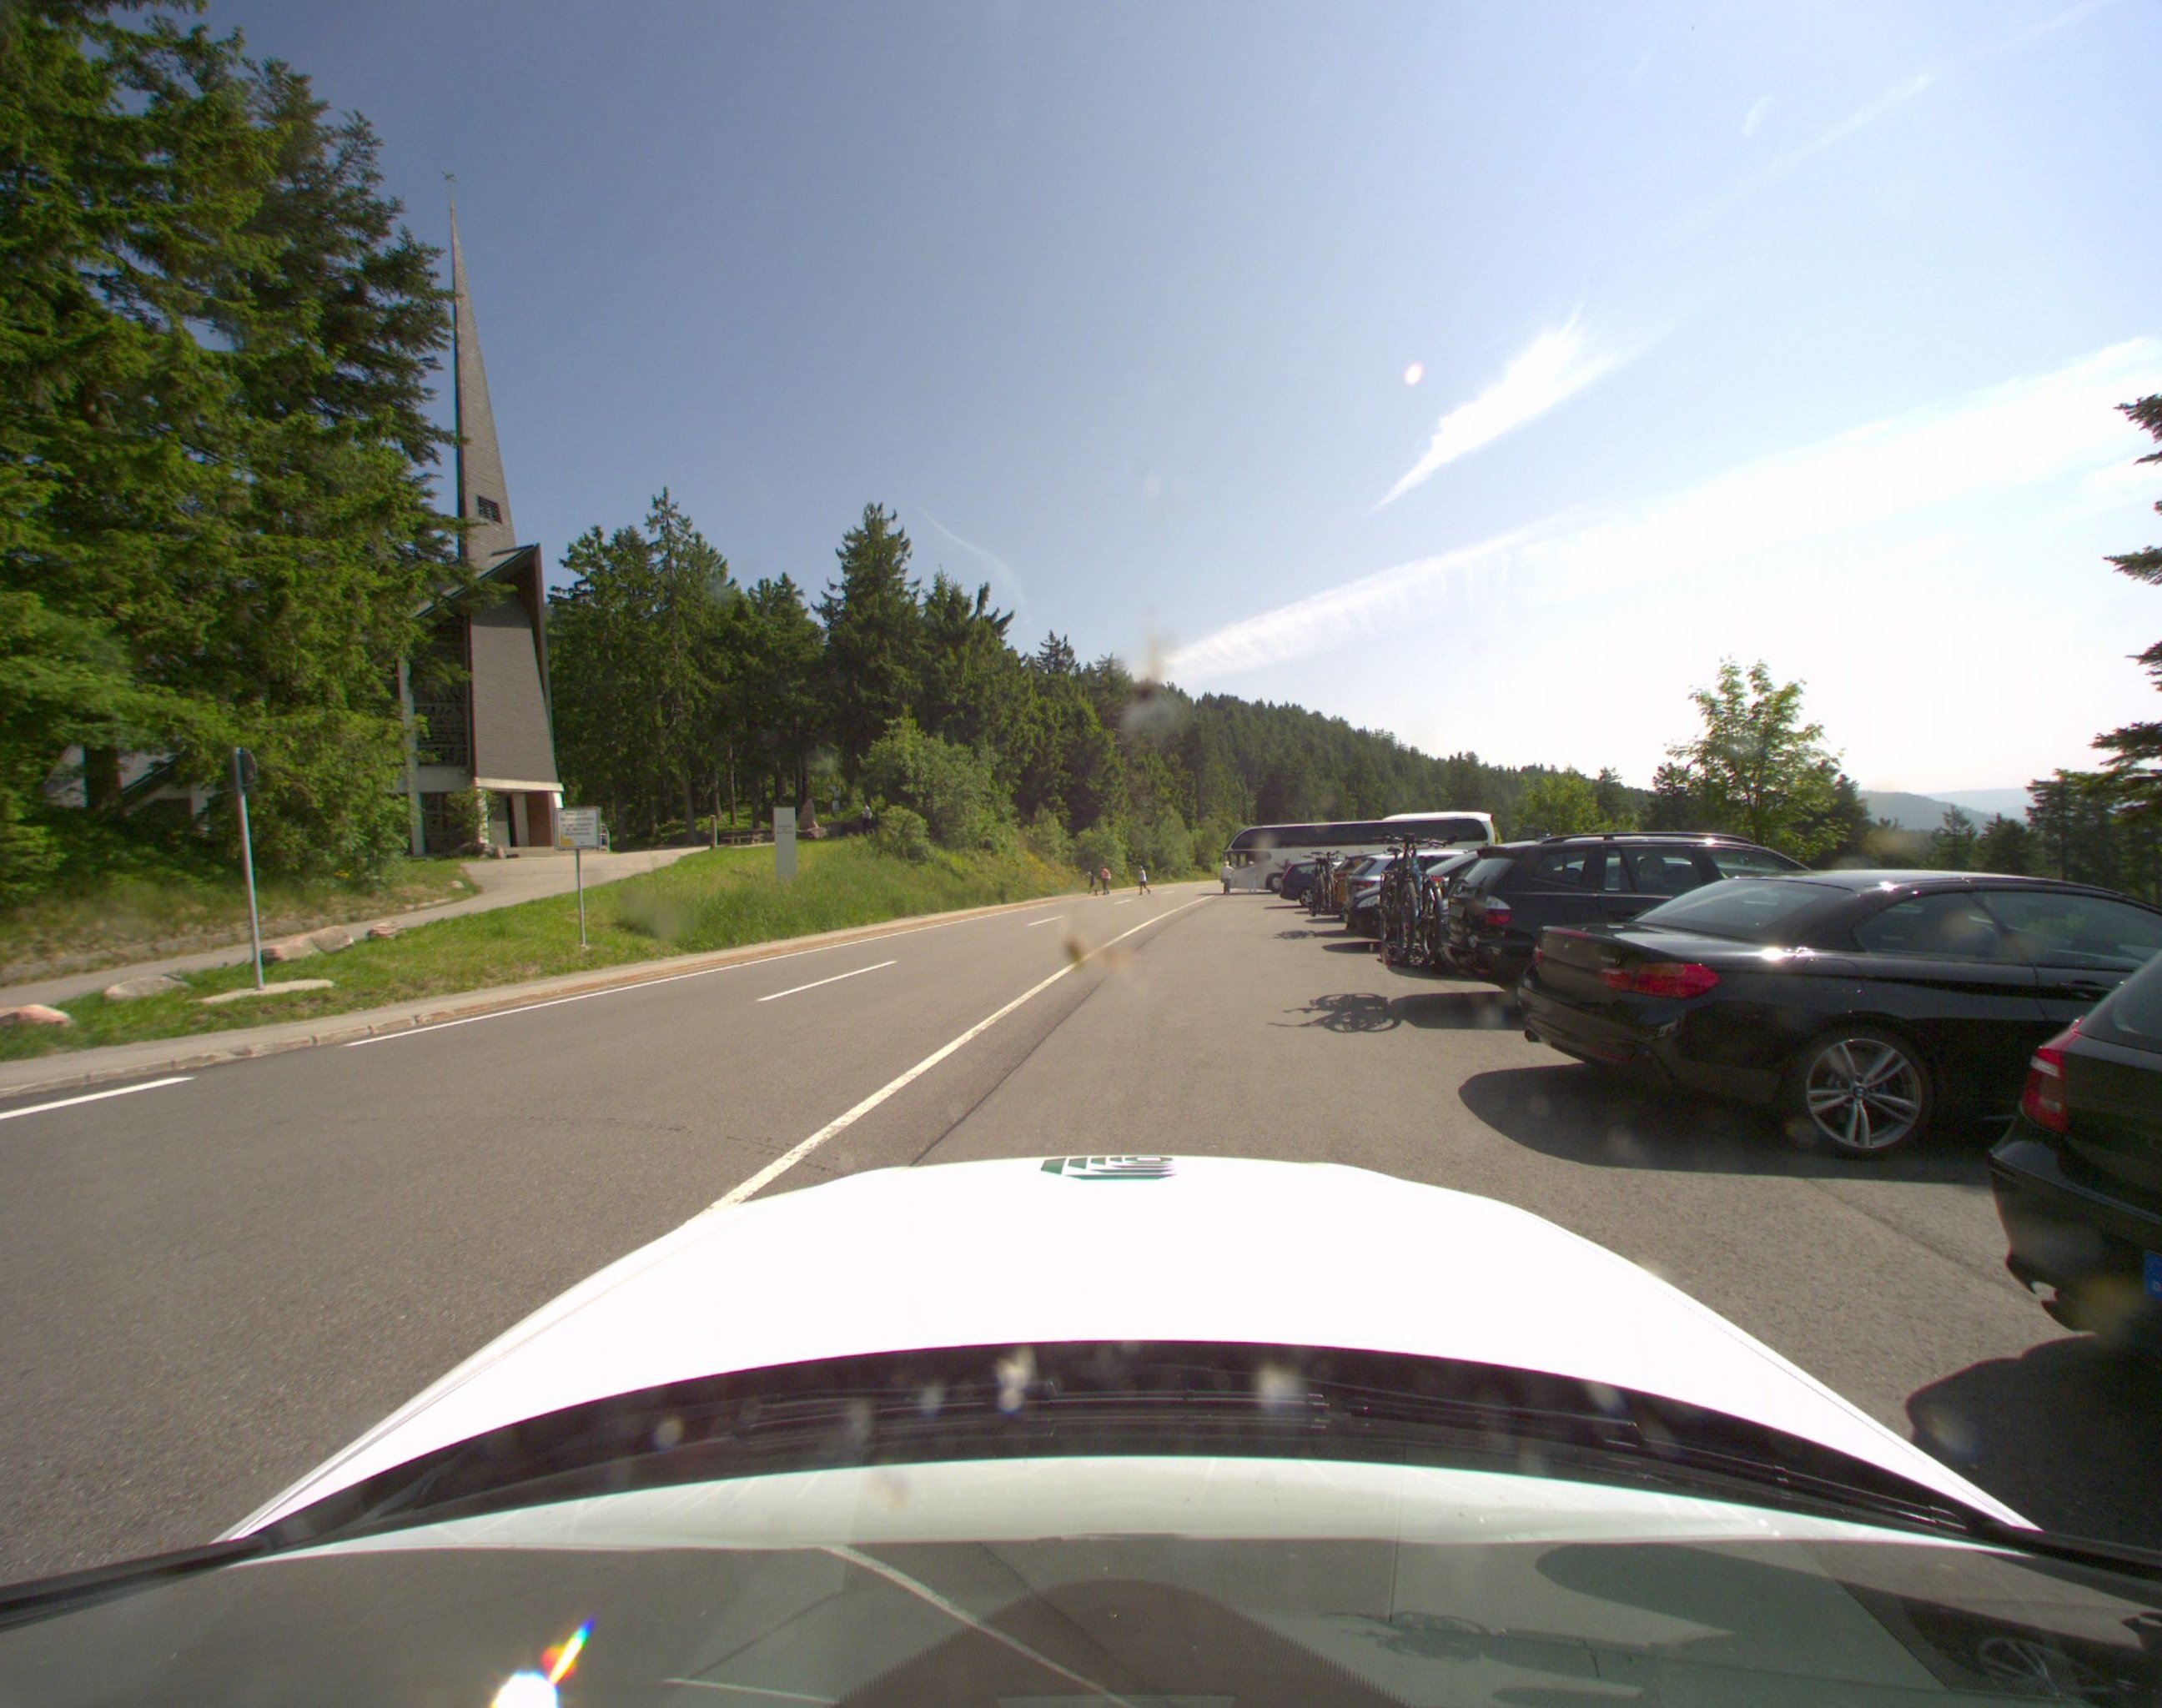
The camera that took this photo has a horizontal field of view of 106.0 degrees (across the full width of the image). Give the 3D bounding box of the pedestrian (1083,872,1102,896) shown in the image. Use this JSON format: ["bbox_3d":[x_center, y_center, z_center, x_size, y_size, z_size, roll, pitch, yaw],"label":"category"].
[{"bbox_3d":[0.642,1.710,46.067,0.773,1.279,0.741,-4,-1,32],"label":"pedestrian"}]

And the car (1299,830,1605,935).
[{"bbox_3d":[6.924,0.549,15.800,5.002,1.651,2.054,-3,-1,10],"label":"car"}]

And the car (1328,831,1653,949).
[{"bbox_3d":[6.258,0.565,12.963,4.217,1.554,1.843,-3,-1,10],"label":"car"}]

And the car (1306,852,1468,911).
[{"bbox_3d":[8.465,0.748,22.833,3.962,1.398,1.625,-3,-1,10],"label":"car"}]

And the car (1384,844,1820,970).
[{"bbox_3d":[6.236,0.643,10.286,4.217,1.269,1.843,-3,-1,10],"label":"car"}]

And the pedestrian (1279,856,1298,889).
[{"bbox_3d":[10.162,0.892,39.820,0.763,1.585,0.776,-3,-1,18],"label":"pedestrian"}]

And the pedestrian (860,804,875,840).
[{"bbox_3d":[-11.433,-1.707,43.603,0.681,1.878,0.539,-3,-1,-14],"label":"pedestrian"}]

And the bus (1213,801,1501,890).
[{"bbox_3d":[13.452,-0.286,40.676,12.982,3.533,3.059,-3,-1,20],"label":"bus"}]

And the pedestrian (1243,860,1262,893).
[{"bbox_3d":[8.462,1.092,40.206,0.764,1.585,0.776,-3,-1,17],"label":"pedestrian"}]

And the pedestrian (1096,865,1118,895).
[{"bbox_3d":[1.503,1.507,46.869,0.861,1.683,0.859,-2,-1,-42],"label":"pedestrian"}]

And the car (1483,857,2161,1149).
[{"bbox_3d":[4.791,0.716,4.734,4.063,1.376,1.704,0,-1,4],"label":"car"}]

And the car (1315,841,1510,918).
[{"bbox_3d":[7.726,0.606,19.322,3.962,1.554,1.664,-3,-1,10],"label":"car"}]

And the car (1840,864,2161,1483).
[{"bbox_3d":[4.445,0.704,1.723,4.067,1.376,1.703,0,-1,1],"label":"car"}]

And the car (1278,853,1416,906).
[{"bbox_3d":[8.423,0.803,26.123,3.962,1.449,1.866,-3,-1,10],"label":"car"}]

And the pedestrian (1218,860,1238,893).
[{"bbox_3d":[7.345,1.124,40.656,0.764,1.585,0.776,-3,-1,17],"label":"pedestrian"}]

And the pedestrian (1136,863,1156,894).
[{"bbox_3d":[3.560,1.335,44.491,0.853,1.585,0.816,-3,-1,-7],"label":"pedestrian"}]

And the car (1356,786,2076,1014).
[{"bbox_3d":[5.295,0.451,7.632,4.915,1.695,1.952,-3,-1,12],"label":"car"}]
